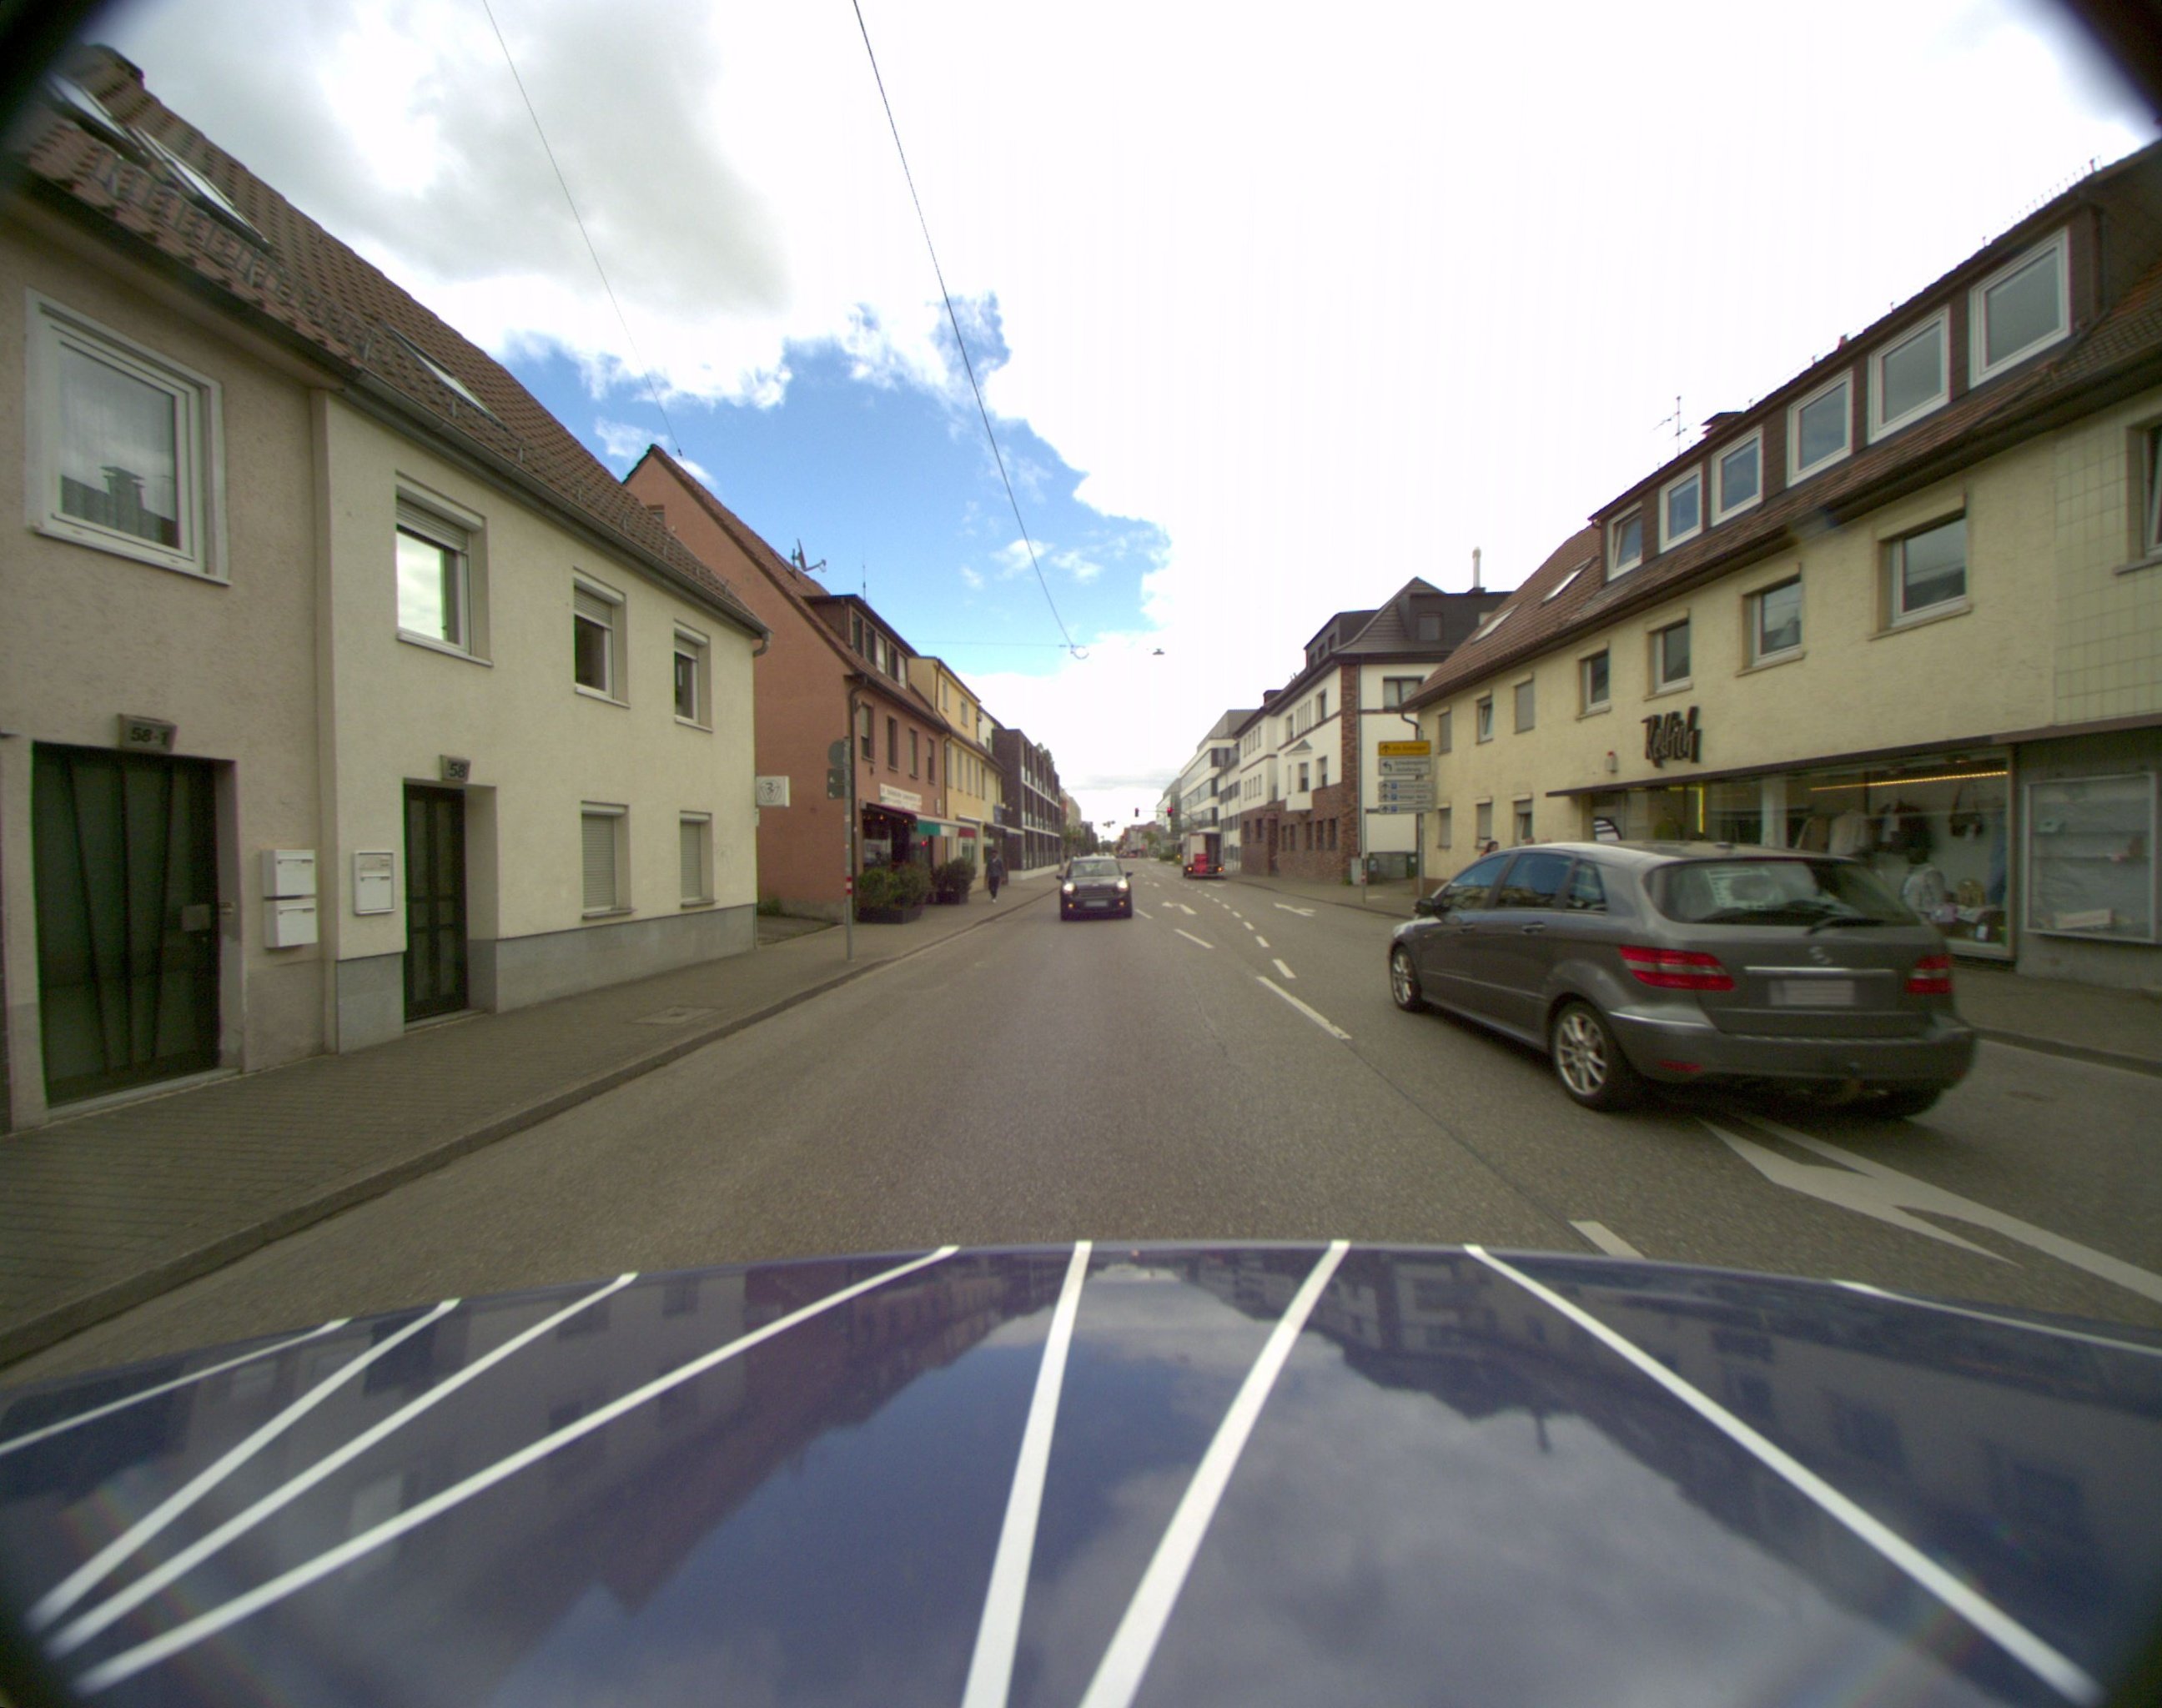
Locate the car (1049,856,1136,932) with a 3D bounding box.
[{"bbox_3d":[0.371,0.893,19.023,1.847,1.571,4.429,-3,0,3],"label":"car"}]

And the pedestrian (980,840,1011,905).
[{"bbox_3d":[-2.802,0.592,25.043,0.826,2.063,1.011,2,1,1],"label":"pedestrian"}]

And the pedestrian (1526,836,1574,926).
[{"bbox_3d":[9.207,0.516,14.942,0.555,1.727,0.648,0,1,3],"label":"pedestrian"}]

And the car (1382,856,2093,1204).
[{"bbox_3d":[3.875,0.831,5.612,1.784,1.543,4.075,2,1,2],"label":"car"}]

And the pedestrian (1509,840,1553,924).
[{"bbox_3d":[9.446,0.585,15.978,0.555,1.727,0.648,0,1,3],"label":"pedestrian"}]

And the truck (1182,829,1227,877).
[{"bbox_3d":[8.146,-0.056,50.608,2.467,2.954,5.966,-2,0,5],"label":"truck"}]

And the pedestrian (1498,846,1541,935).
[{"bbox_3d":[8.659,0.707,15.024,0.497,1.727,0.648,0,1,3],"label":"pedestrian"}]

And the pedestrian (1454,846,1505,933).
[{"bbox_3d":[8.077,0.703,15.421,0.679,1.727,0.717,0,1,3],"label":"pedestrian"}]
